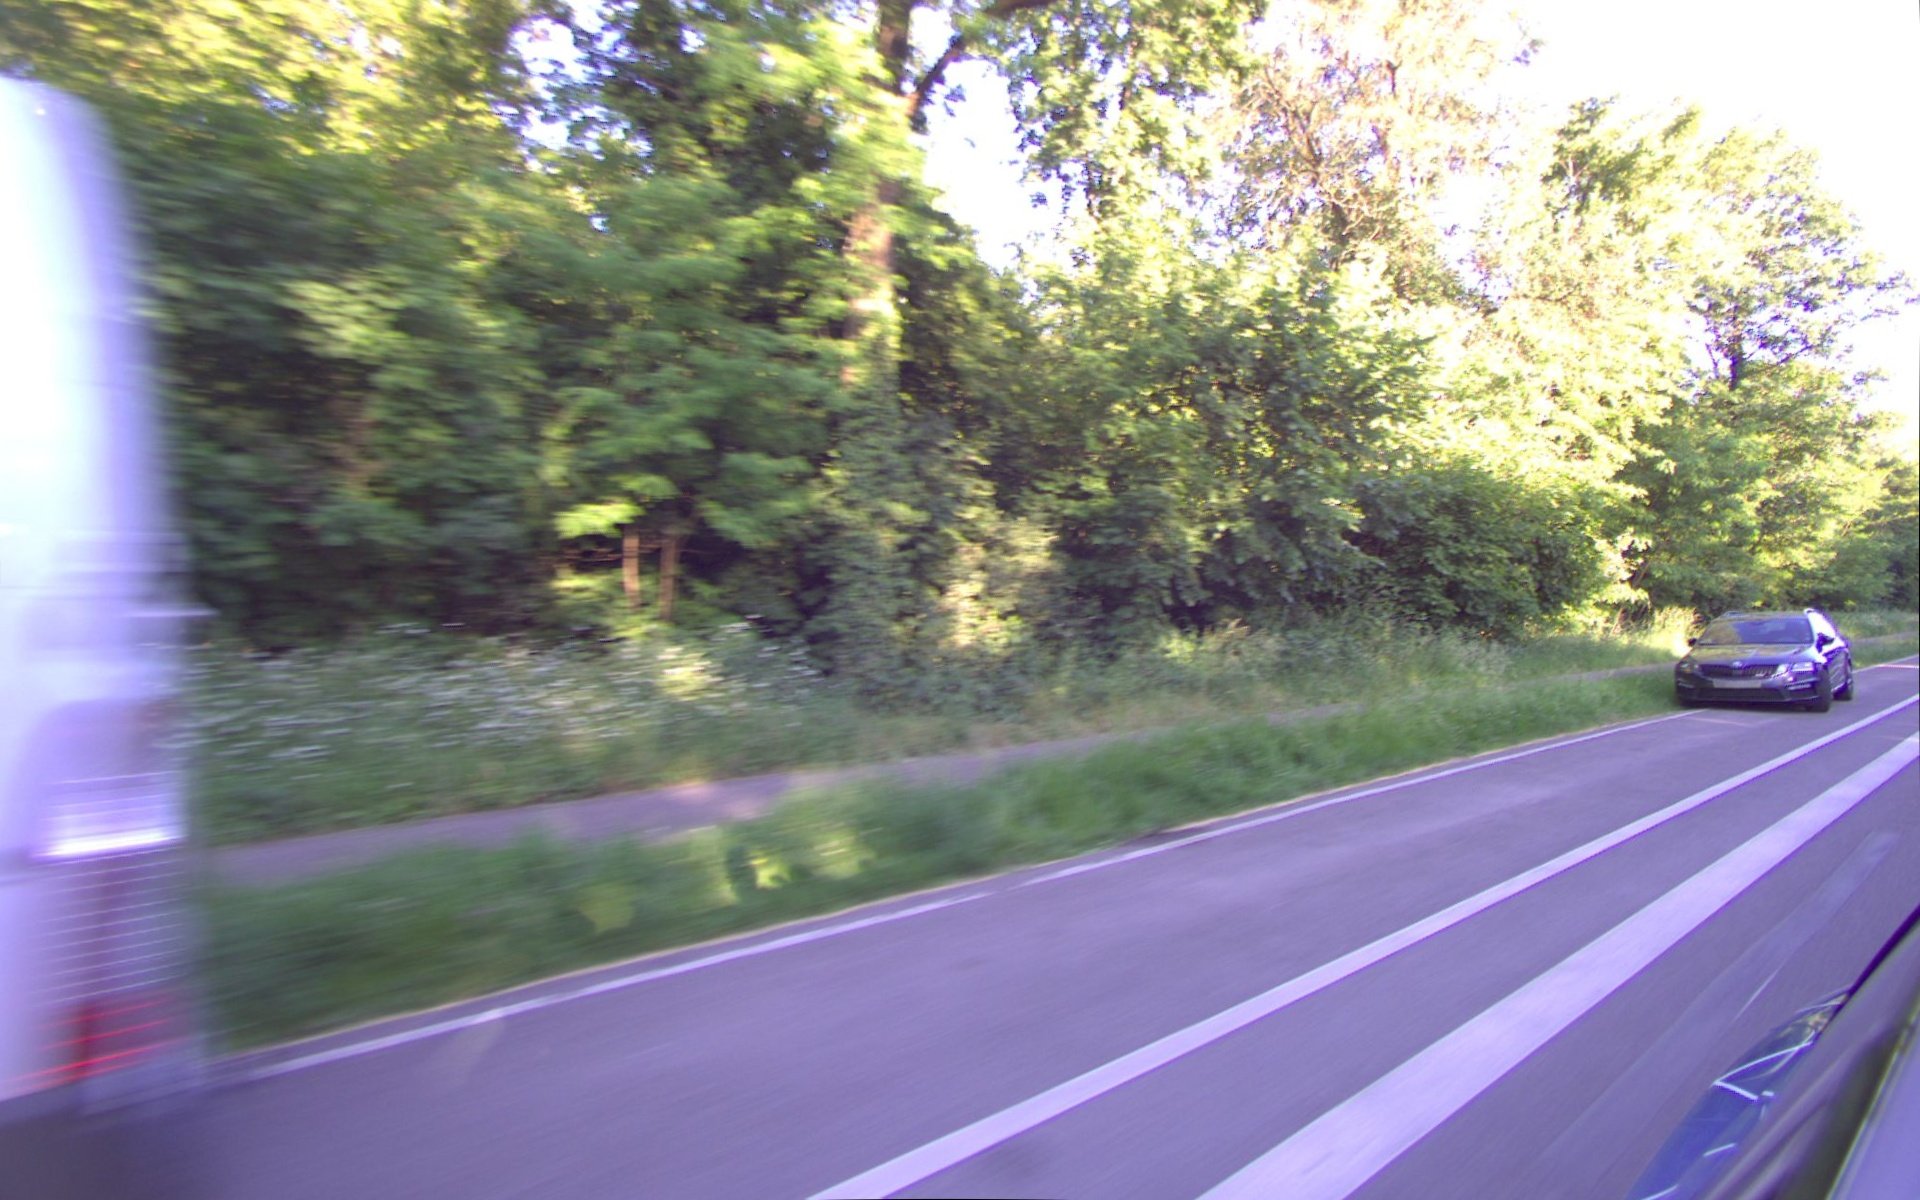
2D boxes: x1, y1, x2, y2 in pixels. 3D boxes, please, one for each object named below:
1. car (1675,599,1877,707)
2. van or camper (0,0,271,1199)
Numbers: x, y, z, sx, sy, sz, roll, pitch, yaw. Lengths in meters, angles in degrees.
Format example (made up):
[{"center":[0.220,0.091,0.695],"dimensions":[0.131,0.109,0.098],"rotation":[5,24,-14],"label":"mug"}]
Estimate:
[{"center":[12.804,0.738,15.767],"dimensions":[4.520,1.439,1.835],"rotation":[0,-2,-44],"label":"car"},{"center":[-4.210,0.244,0.540],"dimensions":[6.192,2.514,2.130],"rotation":[0,1,-40],"label":"van or camper"}]
